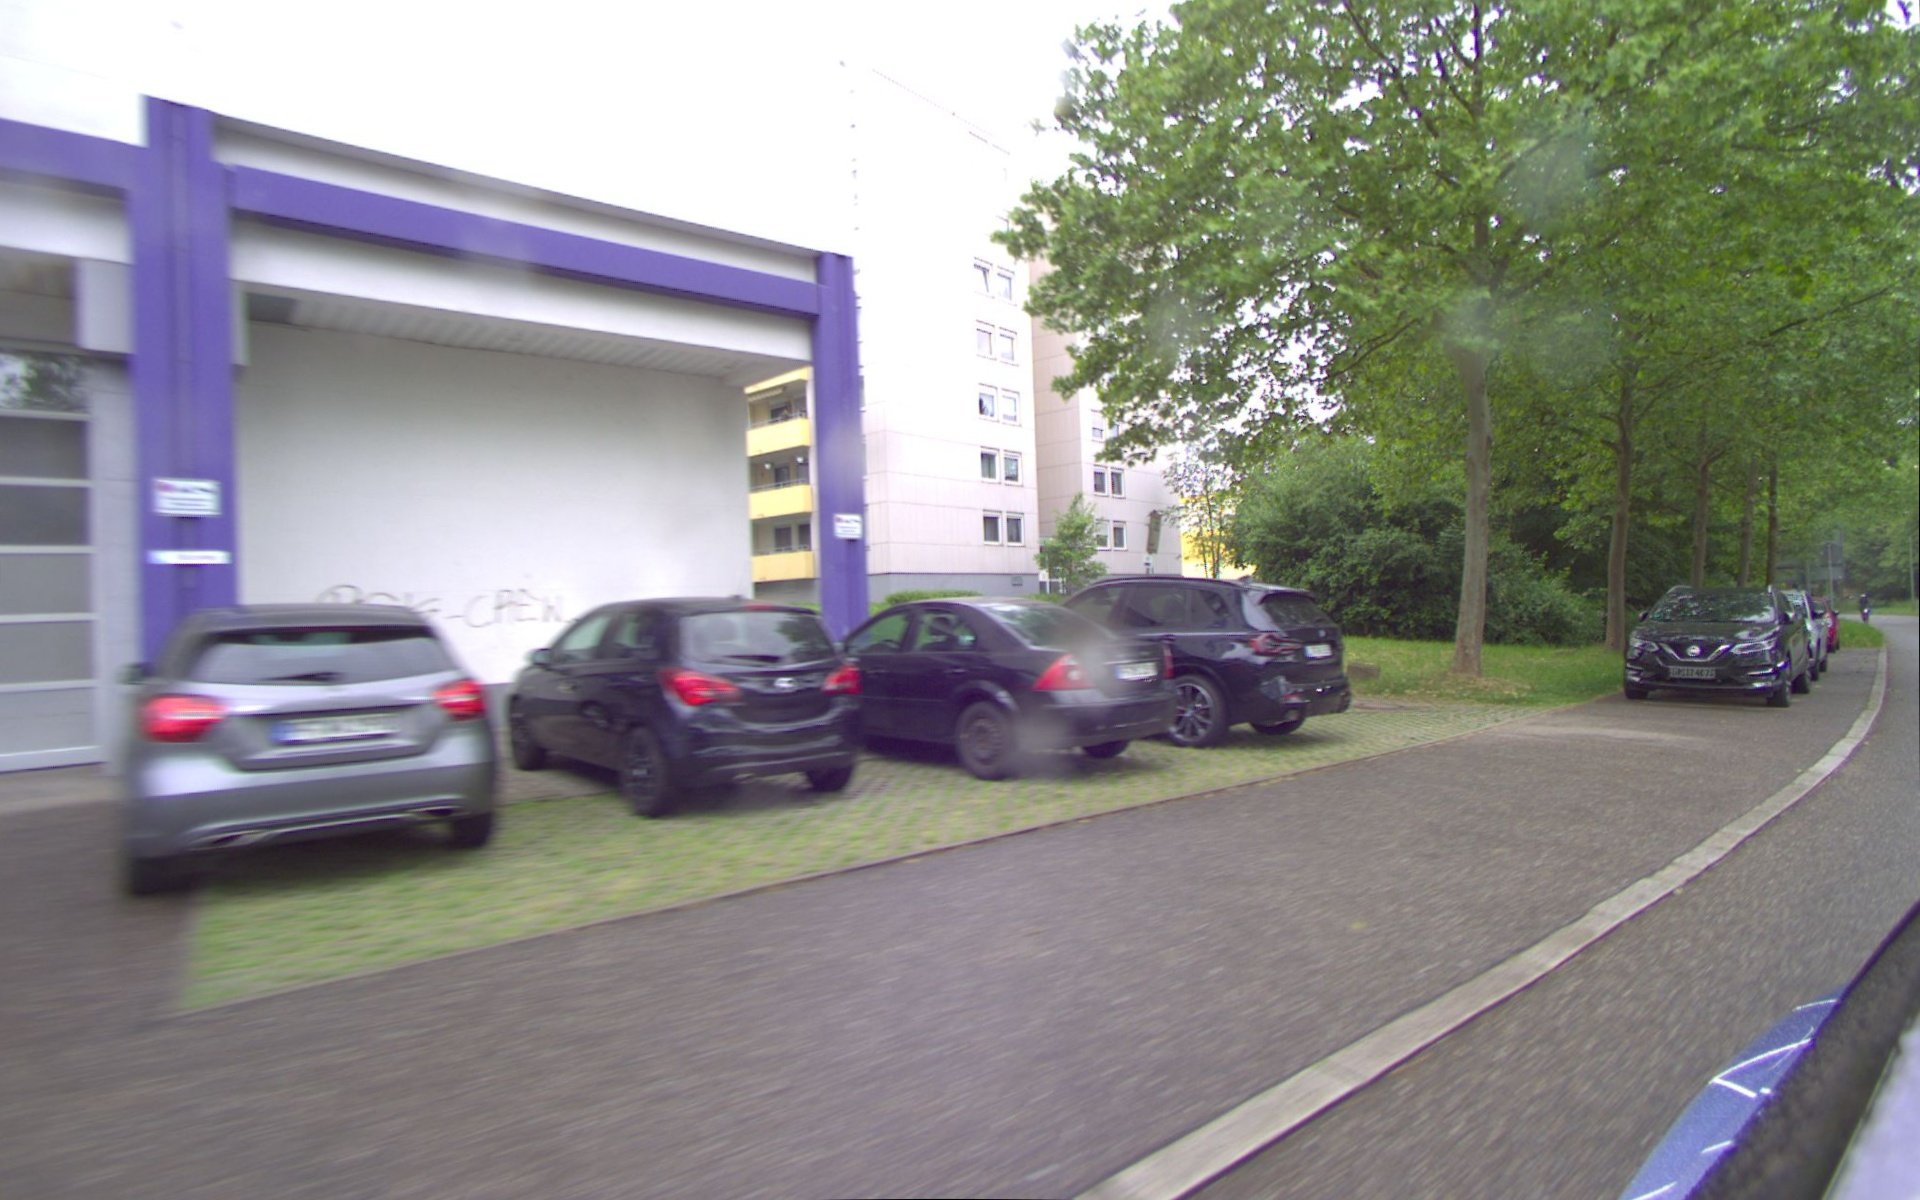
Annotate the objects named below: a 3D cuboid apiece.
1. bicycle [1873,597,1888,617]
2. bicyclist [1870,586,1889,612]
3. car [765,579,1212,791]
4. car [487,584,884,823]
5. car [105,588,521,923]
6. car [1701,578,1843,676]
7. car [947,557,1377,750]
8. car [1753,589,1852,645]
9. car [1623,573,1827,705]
[{"bbox_3d":[55.021,0.434,60.516,0.451,1.149,1.808,-4,-2,37],"label":"bicycle"},{"bbox_3d":[54.979,-0.079,60.529,0.694,1.516,0.789,-3,-2,38],"label":"bicyclist"},{"bbox_3d":[0.065,0.636,9.360,1.693,1.497,4.109,-2,0,-44],"label":"car"},{"bbox_3d":[-2.377,0.671,8.185,1.691,1.471,3.621,1,-1,-41],"label":"car"},{"bbox_3d":[-4.383,0.718,6.558,1.691,1.471,3.943,-1,0,-41],"label":"car"},{"bbox_3d":[15.169,0.404,18.824,1.728,1.611,4.186,1,1,44],"label":"car"},{"bbox_3d":[2.005,0.519,11.153,1.738,1.702,4.473,1,-2,-44],"label":"car"},{"bbox_3d":[22.637,0.405,27.152,1.797,1.389,3.685,0,1,44],"label":"car"},{"bbox_3d":[11.111,0.448,14.579,1.802,1.622,4.301,0,1,45],"label":"car"}]
